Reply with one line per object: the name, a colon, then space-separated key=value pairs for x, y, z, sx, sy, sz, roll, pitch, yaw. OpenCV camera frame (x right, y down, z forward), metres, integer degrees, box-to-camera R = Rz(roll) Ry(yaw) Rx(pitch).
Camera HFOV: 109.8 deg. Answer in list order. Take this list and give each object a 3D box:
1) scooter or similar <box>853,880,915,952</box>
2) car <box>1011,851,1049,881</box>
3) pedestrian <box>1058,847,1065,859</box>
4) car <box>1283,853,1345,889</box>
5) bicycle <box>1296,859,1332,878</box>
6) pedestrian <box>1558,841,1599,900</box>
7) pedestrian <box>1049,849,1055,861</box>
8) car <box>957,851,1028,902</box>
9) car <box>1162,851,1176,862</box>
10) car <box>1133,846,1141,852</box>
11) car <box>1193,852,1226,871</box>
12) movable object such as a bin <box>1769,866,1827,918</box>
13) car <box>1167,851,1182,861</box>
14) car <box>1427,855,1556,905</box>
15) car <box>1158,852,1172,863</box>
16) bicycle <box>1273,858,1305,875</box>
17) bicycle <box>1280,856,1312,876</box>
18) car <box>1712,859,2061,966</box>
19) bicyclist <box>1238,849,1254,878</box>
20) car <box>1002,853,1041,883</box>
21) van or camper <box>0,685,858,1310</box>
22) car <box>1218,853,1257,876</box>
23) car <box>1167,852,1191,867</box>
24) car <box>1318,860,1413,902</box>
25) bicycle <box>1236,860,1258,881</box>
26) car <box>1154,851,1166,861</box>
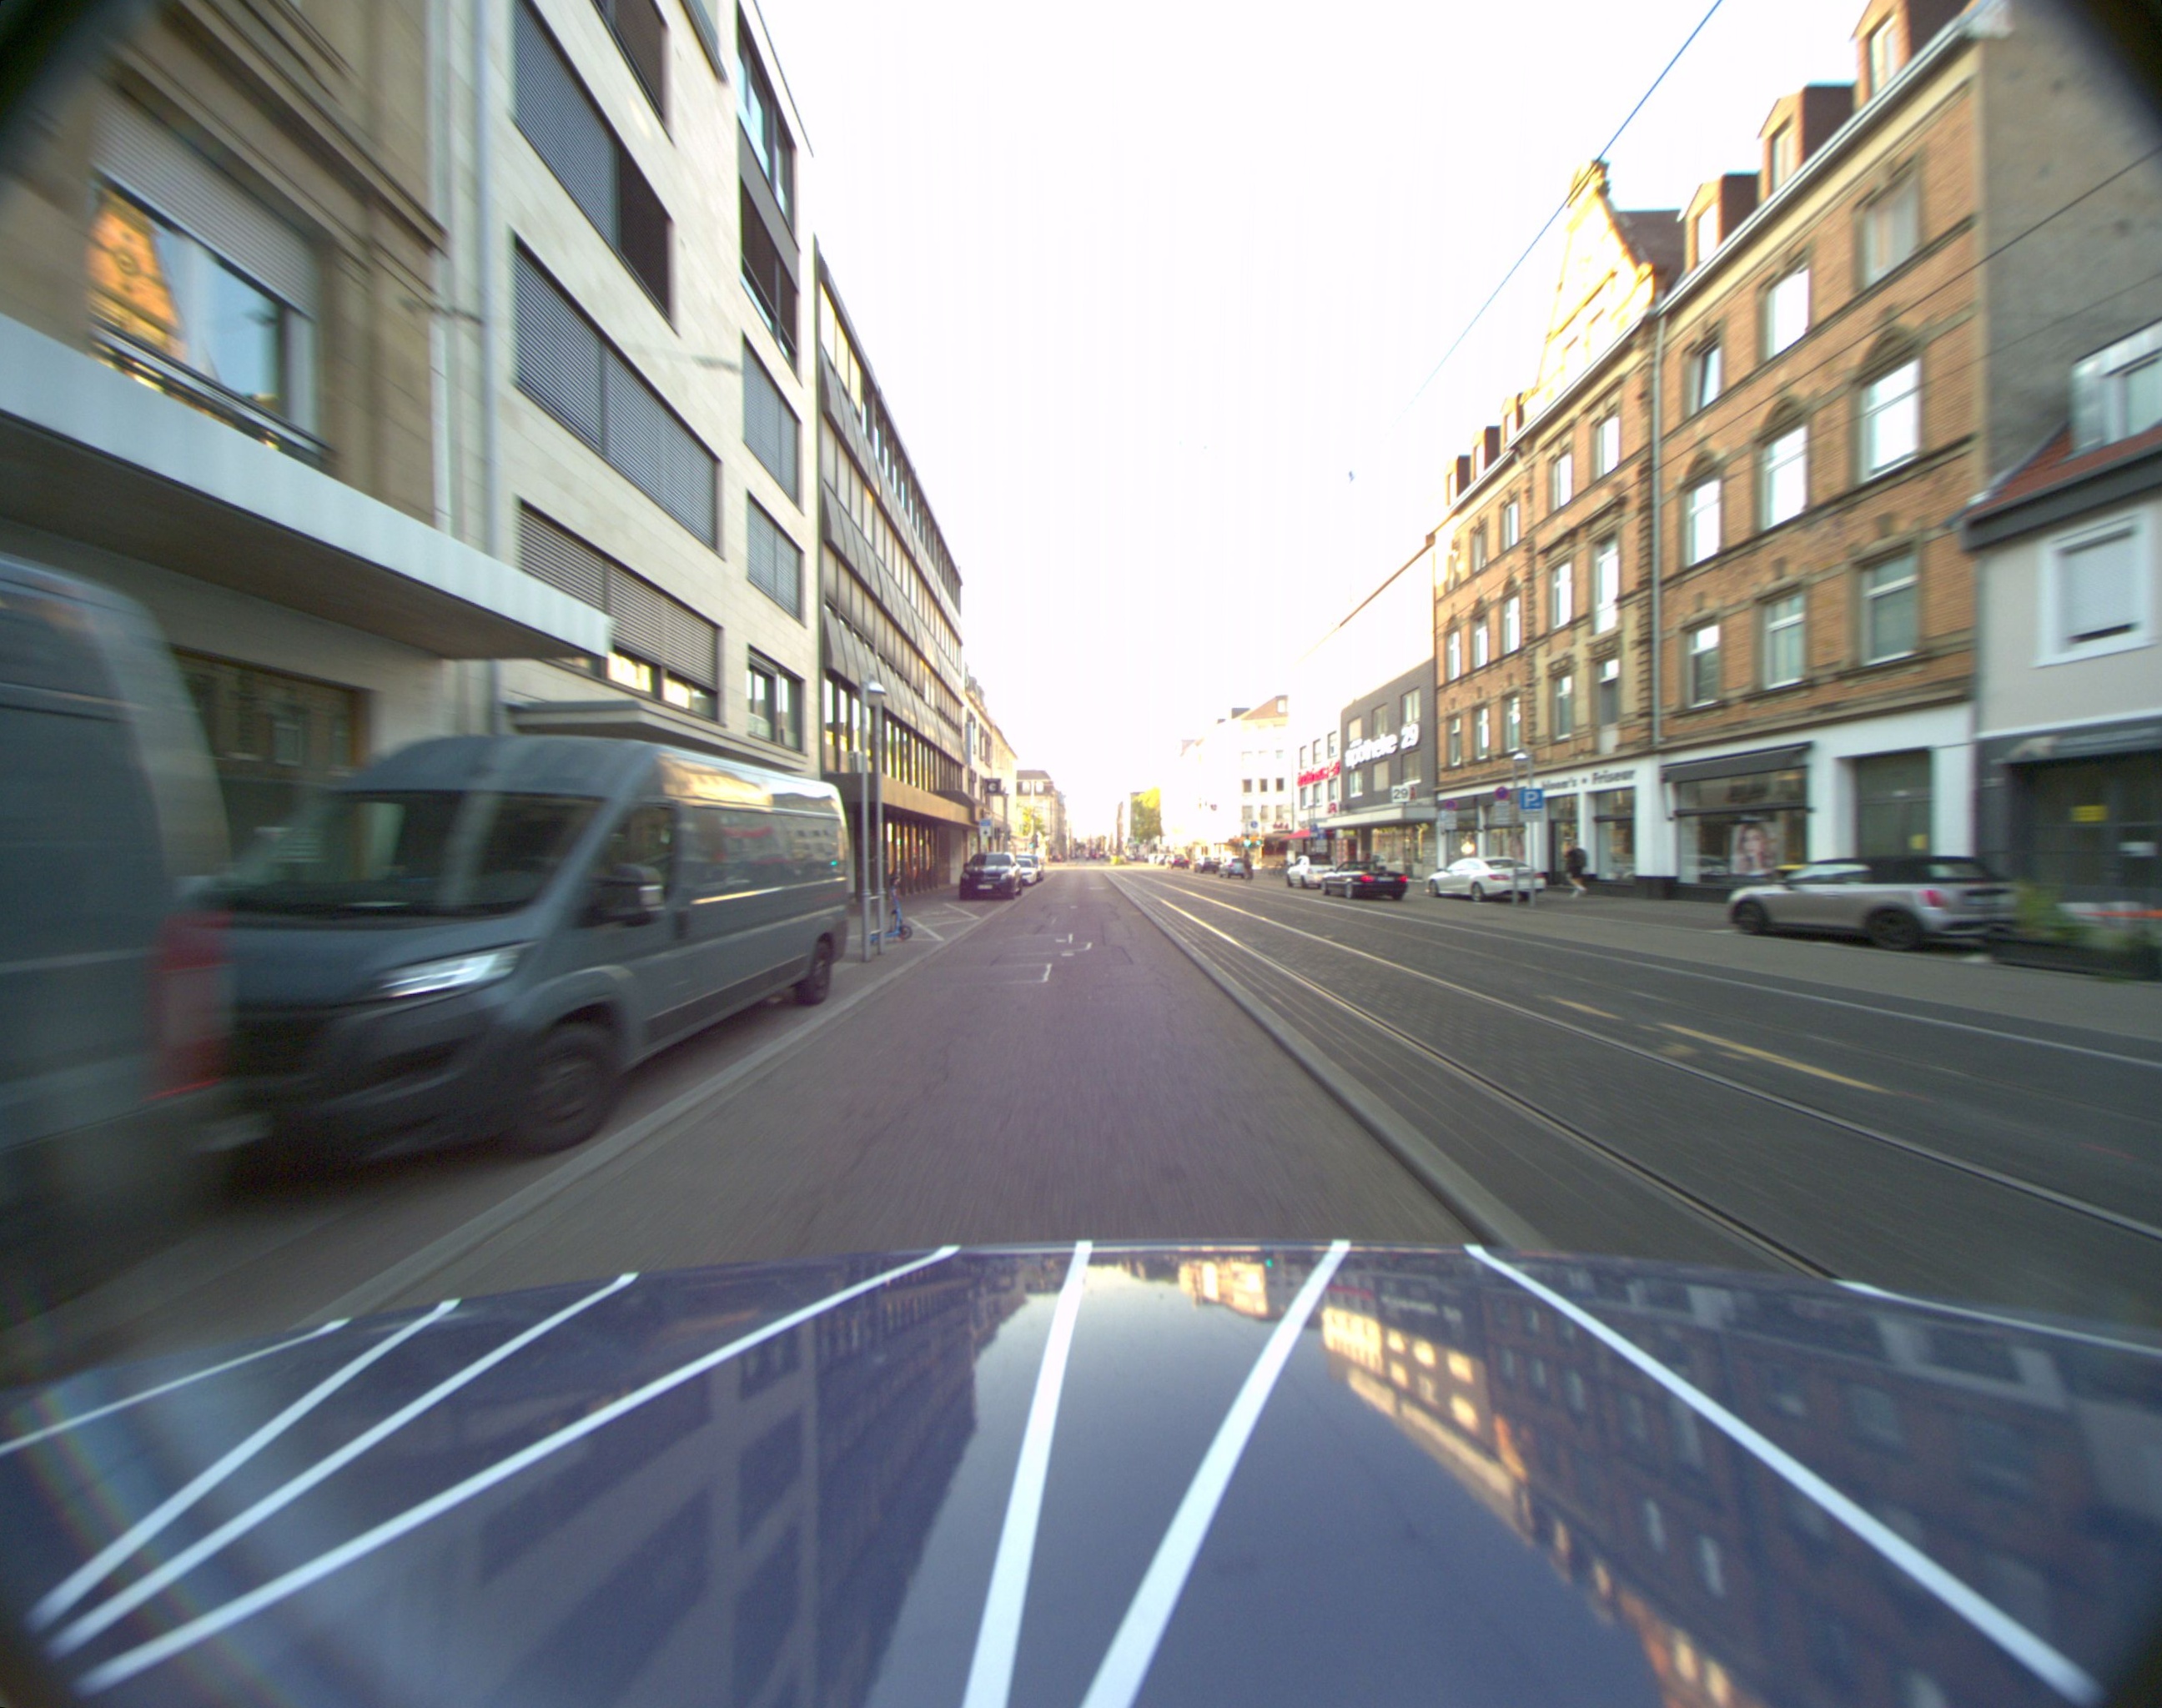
scooter or similar: x=-3.560 y=1.102 z=13.762 sx=0.354 sy=1.217 sz=1.118 roll=2 pitch=1 yaw=33
car: x=-3.107 y=0.688 z=47.115 sx=1.919 sy=1.707 sz=4.563 roll=1 pitch=1 yaw=1
pedestrian: x=-2.780 y=-0.110 z=107.865 sx=0.806 sy=1.603 sz=0.993 roll=-2 pitch=2 yaw=0
car: x=10.540 y=0.747 z=34.580 sx=1.671 sy=1.497 sz=3.680 roll=1 pitch=1 yaw=0
bicycle: x=13.556 y=0.824 z=44.233 sx=1.860 sy=0.978 sz=0.462 roll=-4 pitch=1 yaw=1
pedestrian: x=15.277 y=0.489 z=23.347 sx=0.649 sy=1.762 sz=0.855 roll=-2 pitch=1 yaw=1
pedestrian: x=-4.103 y=0.095 z=107.440 sx=0.806 sy=1.603 sz=0.993 roll=-2 pitch=2 yaw=0
car: x=-3.263 y=0.766 z=28.893 sx=1.989 sy=1.724 sz=4.670 roll=1 pitch=1 yaw=1
car: x=12.995 y=0.379 z=112.468 sx=1.847 sy=1.626 sz=4.001 roll=-1 pitch=0 yaw=3
car: x=14.187 y=-1.268 z=191.641 sx=1.847 sy=1.626 sz=4.001 roll=-1 pitch=0 yaw=3
car: x=10.282 y=0.592 z=60.991 sx=1.919 sy=1.378 sz=4.563 roll=1 pitch=0 yaw=1
movable object such as a bin: x=15.908 y=0.832 z=16.876 sx=0.591 sy=1.125 sz=0.728 roll=0 pitch=1 yaw=1
car: x=13.245 y=0.291 z=107.972 sx=1.847 sy=1.287 sz=4.001 roll=-1 pitch=0 yaw=3
car: x=13.197 y=0.780 z=24.758 sx=1.764 sy=1.381 sz=4.272 roll=-3 pitch=0 yaw=-1
car: x=13.128 y=0.525 z=118.778 sx=1.847 sy=1.626 sz=4.001 roll=-1 pitch=0 yaw=3
bicycle: x=13.664 y=0.816 z=49.955 sx=1.860 sy=0.978 sz=0.607 roll=-4 pitch=1 yaw=1
bicycle: x=13.728 y=0.755 z=48.532 sx=1.860 sy=1.128 sz=0.607 roll=-4 pitch=1 yaw=1
car: x=13.010 y=0.840 z=12.695 sx=1.738 sy=1.381 sz=3.864 roll=-3 pitch=0 yaw=1
bicyclist: x=8.981 y=0.491 z=41.340 sx=0.695 sy=1.556 sz=0.799 roll=-1 pitch=1 yaw=-1
car: x=-3.191 y=0.714 z=41.125 sx=1.770 sy=1.477 sz=3.872 roll=1 pitch=1 yaw=0
van or camper: x=-3.804 y=0.538 z=6.032 sx=2.194 sy=2.412 sz=6.131 roll=1 pitch=1 yaw=0
car: x=10.181 y=0.655 z=49.747 sx=1.762 sy=1.378 sz=4.061 roll=1 pitch=1 yaw=1
car: x=9.763 y=0.559 z=76.064 sx=1.919 sy=1.378 sz=4.563 roll=1 pitch=0 yaw=1
car: x=9.678 y=0.868 z=26.231 sx=1.671 sy=1.221 sz=4.273 roll=1 pitch=0 yaw=0
bicycle: x=8.994 y=0.882 z=41.302 sx=0.695 sy=1.028 sz=2.081 roll=-1 pitch=1 yaw=-1
car: x=13.126 y=0.339 z=126.867 sx=1.847 sy=1.626 sz=4.001 roll=-1 pitch=0 yaw=3
